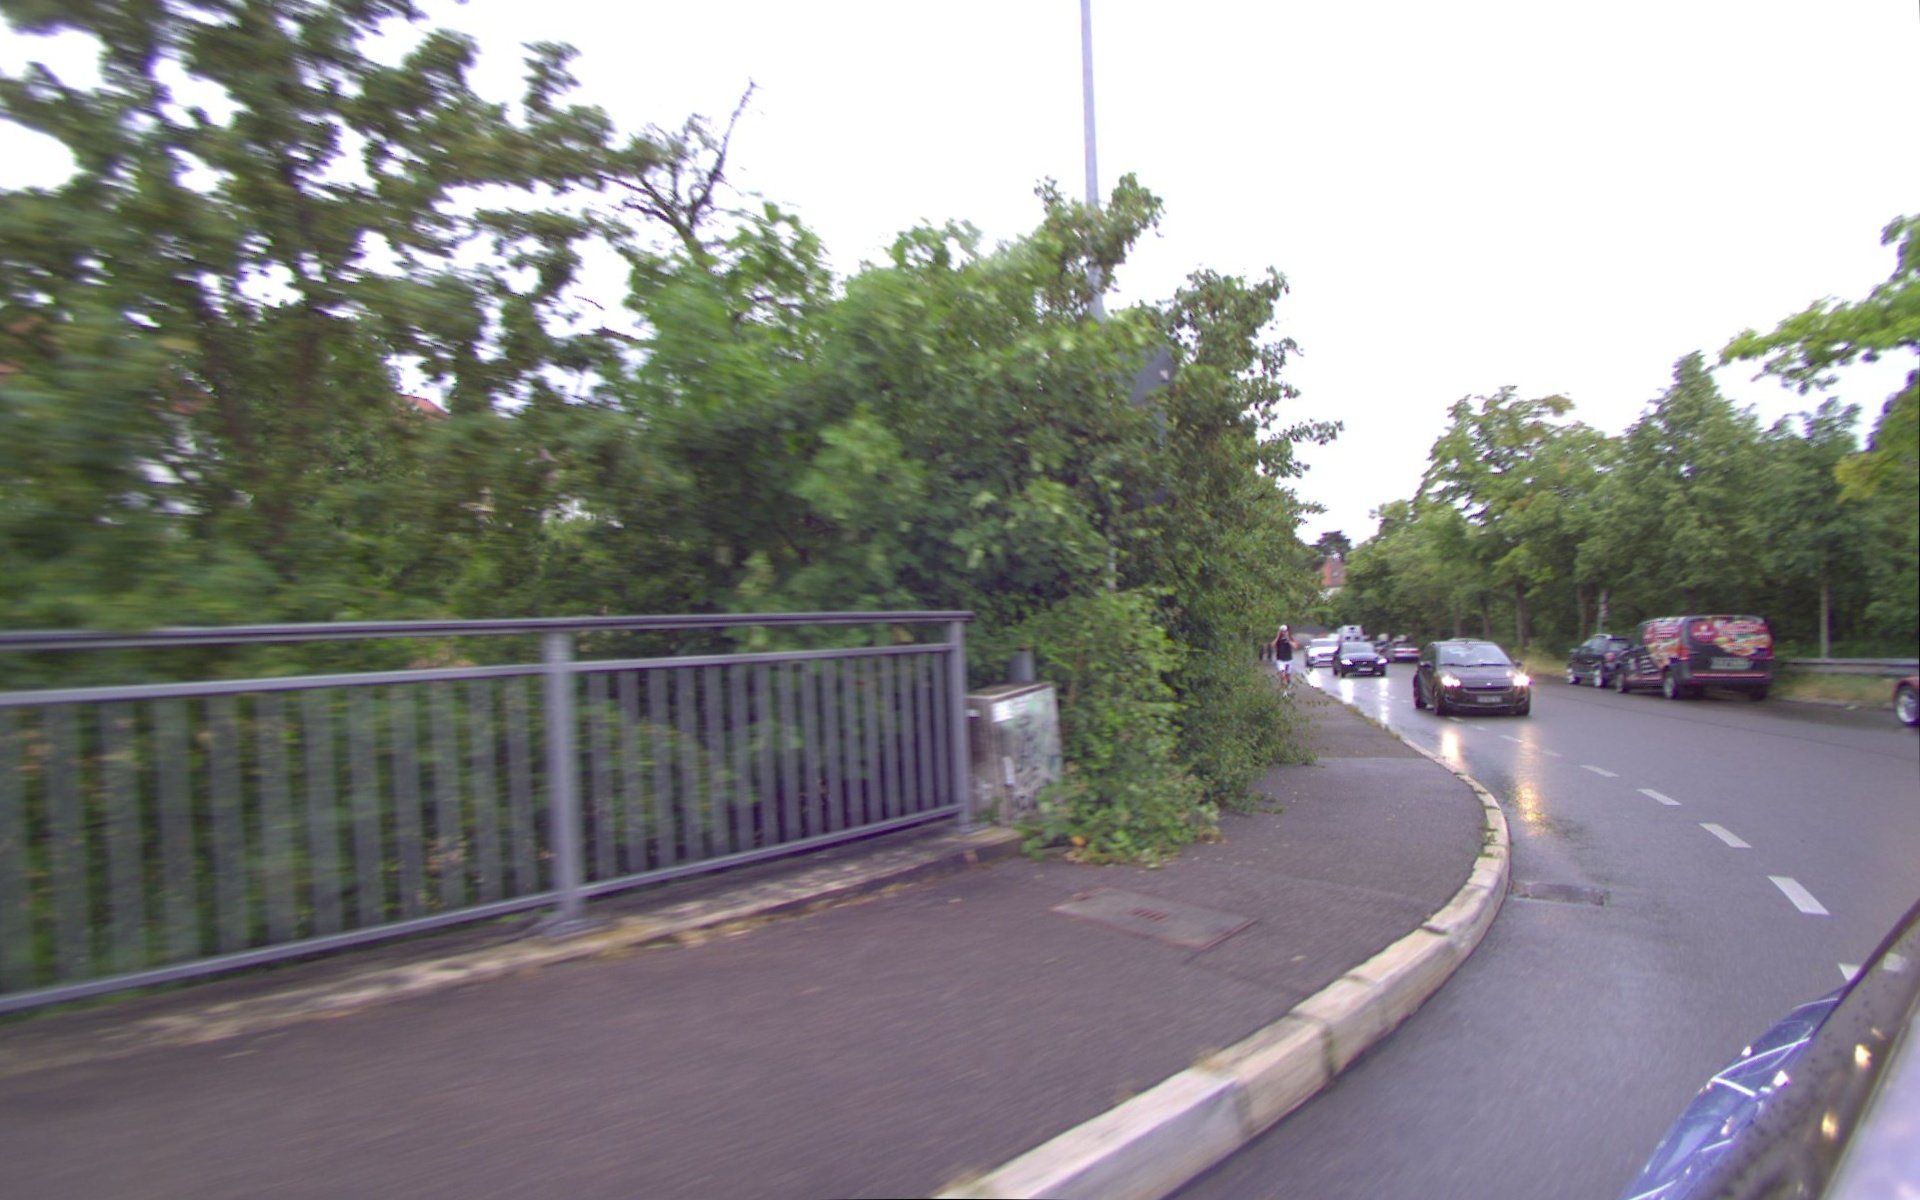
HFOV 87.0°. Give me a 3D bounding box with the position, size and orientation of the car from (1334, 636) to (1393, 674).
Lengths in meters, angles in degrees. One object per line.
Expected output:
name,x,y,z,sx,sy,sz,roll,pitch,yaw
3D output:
car,17.223,2.325,43.386,2.005,1.482,3.975,-3,-3,18

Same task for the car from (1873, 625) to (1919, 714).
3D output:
car,14.695,0.977,13.715,1.771,1.314,4.298,-2,-2,18

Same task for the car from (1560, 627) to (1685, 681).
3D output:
car,19.534,1.567,30.050,1.777,1.456,4.234,-2,-2,15

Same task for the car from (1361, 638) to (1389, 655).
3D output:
car,35.336,4.003,86.284,1.975,1.424,4.680,-1,-3,20

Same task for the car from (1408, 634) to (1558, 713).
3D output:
car,10.627,1.426,20.903,1.779,1.445,4.361,-1,-2,14

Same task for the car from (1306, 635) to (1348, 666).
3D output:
car,20.717,2.807,57.019,2.008,1.650,4.194,-2,-3,22

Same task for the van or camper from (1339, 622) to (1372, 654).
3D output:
van or camper,40.014,3.824,102.597,2.479,3.066,6.524,-1,-2,16

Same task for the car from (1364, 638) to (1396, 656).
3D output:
car,33.750,3.753,81.382,1.974,1.423,4.684,-1,-2,18

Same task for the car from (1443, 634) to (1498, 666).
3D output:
car,24.609,2.396,48.906,1.672,1.456,4.230,-2,-2,18

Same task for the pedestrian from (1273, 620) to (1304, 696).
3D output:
pedestrian,8.298,1.452,25.591,0.709,1.859,1.015,-1,-3,18

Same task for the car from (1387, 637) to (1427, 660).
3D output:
car,29.656,3.204,67.241,1.735,1.421,4.395,-2,-2,16

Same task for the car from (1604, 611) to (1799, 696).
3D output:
car,17.774,1.255,24.643,2.061,1.843,5.350,-2,-2,17

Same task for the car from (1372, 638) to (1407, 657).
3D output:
car,32.469,3.575,76.612,1.974,1.423,4.684,-1,-2,18
